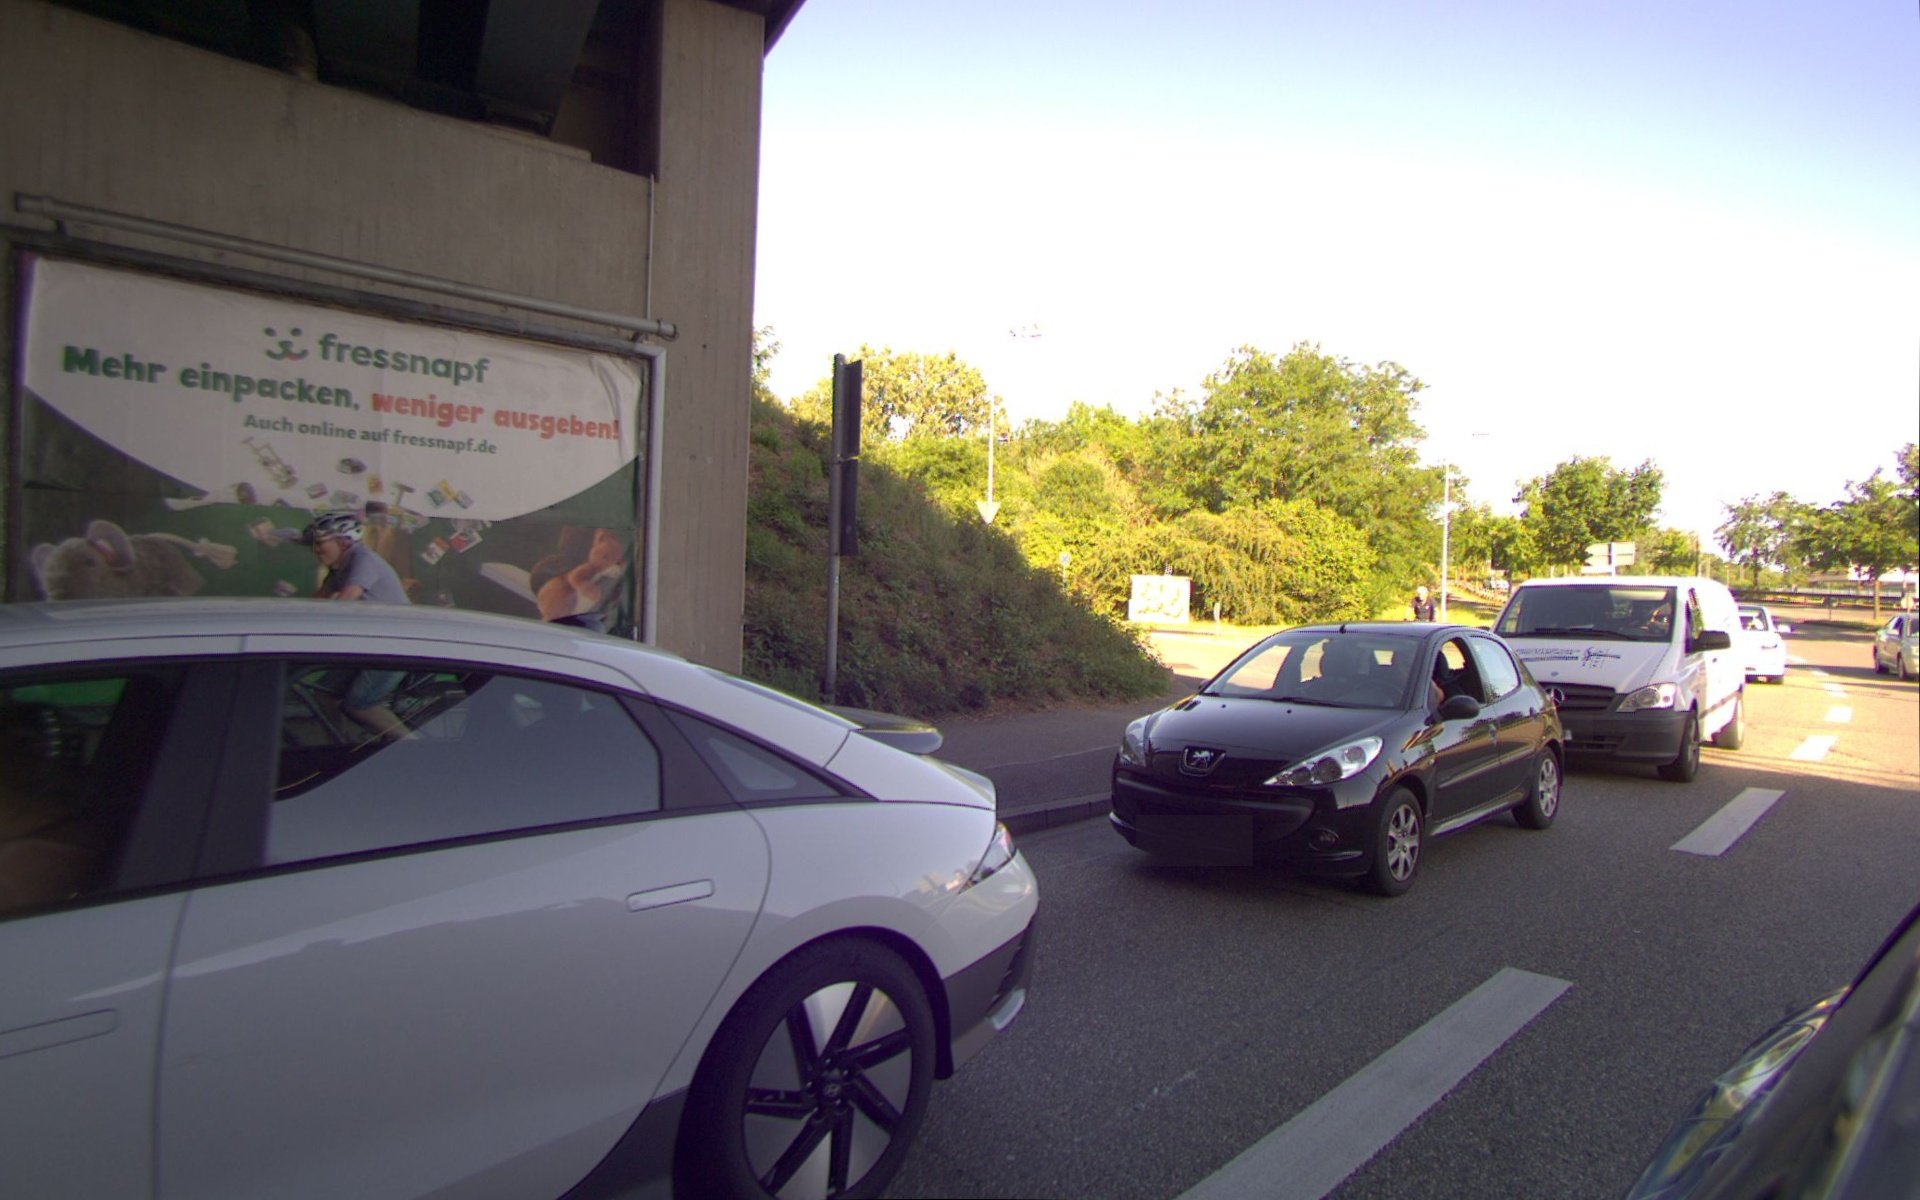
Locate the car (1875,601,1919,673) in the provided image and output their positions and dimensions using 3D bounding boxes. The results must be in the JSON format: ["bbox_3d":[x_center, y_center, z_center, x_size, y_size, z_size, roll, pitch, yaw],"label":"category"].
[{"bbox_3d":[21.847,0.783,22.328,1.689,1.473,4.348,0,1,32],"label":"car"}]

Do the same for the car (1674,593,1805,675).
[{"bbox_3d":[16.964,0.641,21.951,1.992,1.570,4.355,1,1,41],"label":"car"}]

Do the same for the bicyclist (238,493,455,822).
[{"bbox_3d":[-3.206,0.247,5.284,0.893,1.542,0.697,0,3,-38],"label":"bicyclist"}]

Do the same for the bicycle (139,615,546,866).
[{"bbox_3d":[-3.190,0.639,5.325,1.728,1.070,0.703,1,2,-39],"label":"bicycle"}]

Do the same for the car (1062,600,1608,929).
[{"bbox_3d":[2.535,0.745,6.449,3.651,1.474,1.748,0,0,-41],"label":"car"}]

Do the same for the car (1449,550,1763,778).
[{"bbox_3d":[6.952,0.537,10.637,1.898,1.859,4.758,0,0,44],"label":"car"}]

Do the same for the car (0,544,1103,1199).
[{"bbox_3d":[-1.852,0.654,2.095,4.584,1.474,1.748,0,0,-42],"label":"car"}]

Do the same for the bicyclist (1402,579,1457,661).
[{"bbox_3d":[9.844,0.404,21.222,0.870,1.676,0.748,0,0,-39],"label":"bicyclist"}]

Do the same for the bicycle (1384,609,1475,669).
[{"bbox_3d":[9.875,0.783,21.243,2.425,1.160,0.767,-1,0,-39],"label":"bicycle"}]
